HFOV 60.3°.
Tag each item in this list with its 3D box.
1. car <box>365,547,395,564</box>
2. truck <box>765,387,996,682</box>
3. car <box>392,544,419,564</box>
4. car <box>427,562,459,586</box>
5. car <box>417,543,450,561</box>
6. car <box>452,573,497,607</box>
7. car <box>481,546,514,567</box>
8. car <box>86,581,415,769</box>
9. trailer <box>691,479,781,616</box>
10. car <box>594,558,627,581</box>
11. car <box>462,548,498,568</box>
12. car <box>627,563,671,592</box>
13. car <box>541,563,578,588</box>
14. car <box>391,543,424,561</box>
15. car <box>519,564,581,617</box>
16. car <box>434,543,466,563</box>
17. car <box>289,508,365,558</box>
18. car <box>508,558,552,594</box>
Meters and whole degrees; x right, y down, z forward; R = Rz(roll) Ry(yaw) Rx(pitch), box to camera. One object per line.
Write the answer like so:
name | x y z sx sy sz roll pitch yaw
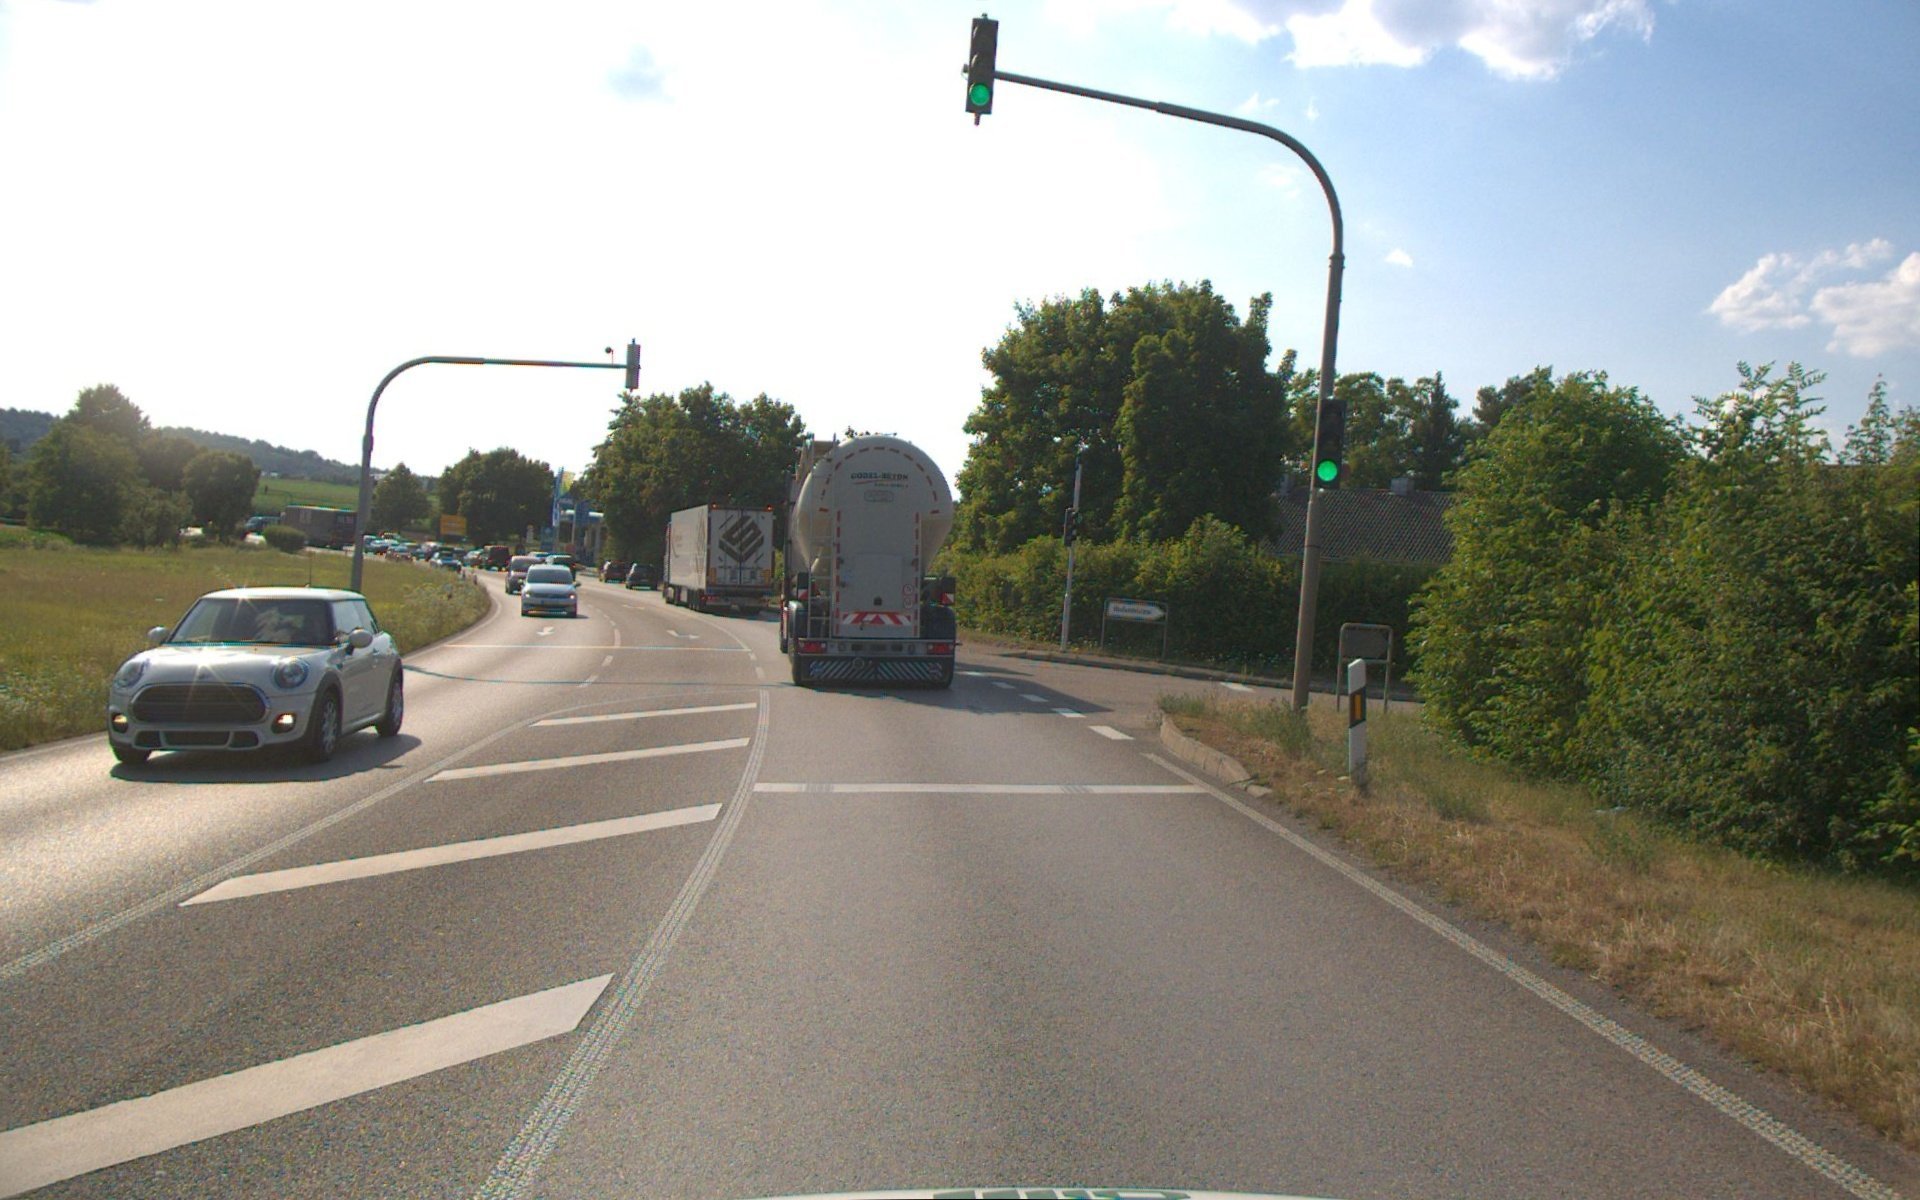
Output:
car | -58.503 -4.487 166.751 1.865 1.627 3.953 2 0 -34
truck | -1.834 -0.894 30.282 2.920 4.248 11.638 2 -1 -9
car | -46.811 -3.874 139.584 1.856 1.627 3.973 2 0 -22
car | -37.617 -1.918 120.293 1.856 1.627 3.973 2 0 -22
car | -49.420 -4.500 155.199 1.865 1.627 3.953 2 0 -34
car | -25.308 -0.535 86.176 1.856 1.627 3.974 2 0 -22
car | -38.328 -3.565 136.999 1.860 1.627 3.964 2 0 -28
car | -6.149 0.584 14.789 1.687 1.461 3.743 0 0 -7
trailer | -9.100 -1.886 66.191 2.911 4.967 10.260 2 -1 -11
car | -24.893 -2.169 117.754 1.660 1.493 3.974 3 -1 -22
car | -41.795 -3.677 143.946 2.064 1.627 3.959 2 0 -31
car | -19.322 -1.390 102.550 1.965 1.685 3.974 3 -1 -21
car | -28.316 -1.750 116.869 1.856 1.627 3.973 2 0 -22
car | -54.173 -4.731 162.099 1.867 1.627 3.949 2 0 -36
car | -13.616 -0.338 54.786 1.851 1.627 3.984 2 0 -15
car | -46.183 -4.257 149.779 1.862 1.627 3.961 2 0 -30
car | -69.433 -7.317 181.172 3.520 5.147 13.051 2 0 -40
car | -21.038 -1.196 80.759 1.852 1.627 3.981 2 0 -17
